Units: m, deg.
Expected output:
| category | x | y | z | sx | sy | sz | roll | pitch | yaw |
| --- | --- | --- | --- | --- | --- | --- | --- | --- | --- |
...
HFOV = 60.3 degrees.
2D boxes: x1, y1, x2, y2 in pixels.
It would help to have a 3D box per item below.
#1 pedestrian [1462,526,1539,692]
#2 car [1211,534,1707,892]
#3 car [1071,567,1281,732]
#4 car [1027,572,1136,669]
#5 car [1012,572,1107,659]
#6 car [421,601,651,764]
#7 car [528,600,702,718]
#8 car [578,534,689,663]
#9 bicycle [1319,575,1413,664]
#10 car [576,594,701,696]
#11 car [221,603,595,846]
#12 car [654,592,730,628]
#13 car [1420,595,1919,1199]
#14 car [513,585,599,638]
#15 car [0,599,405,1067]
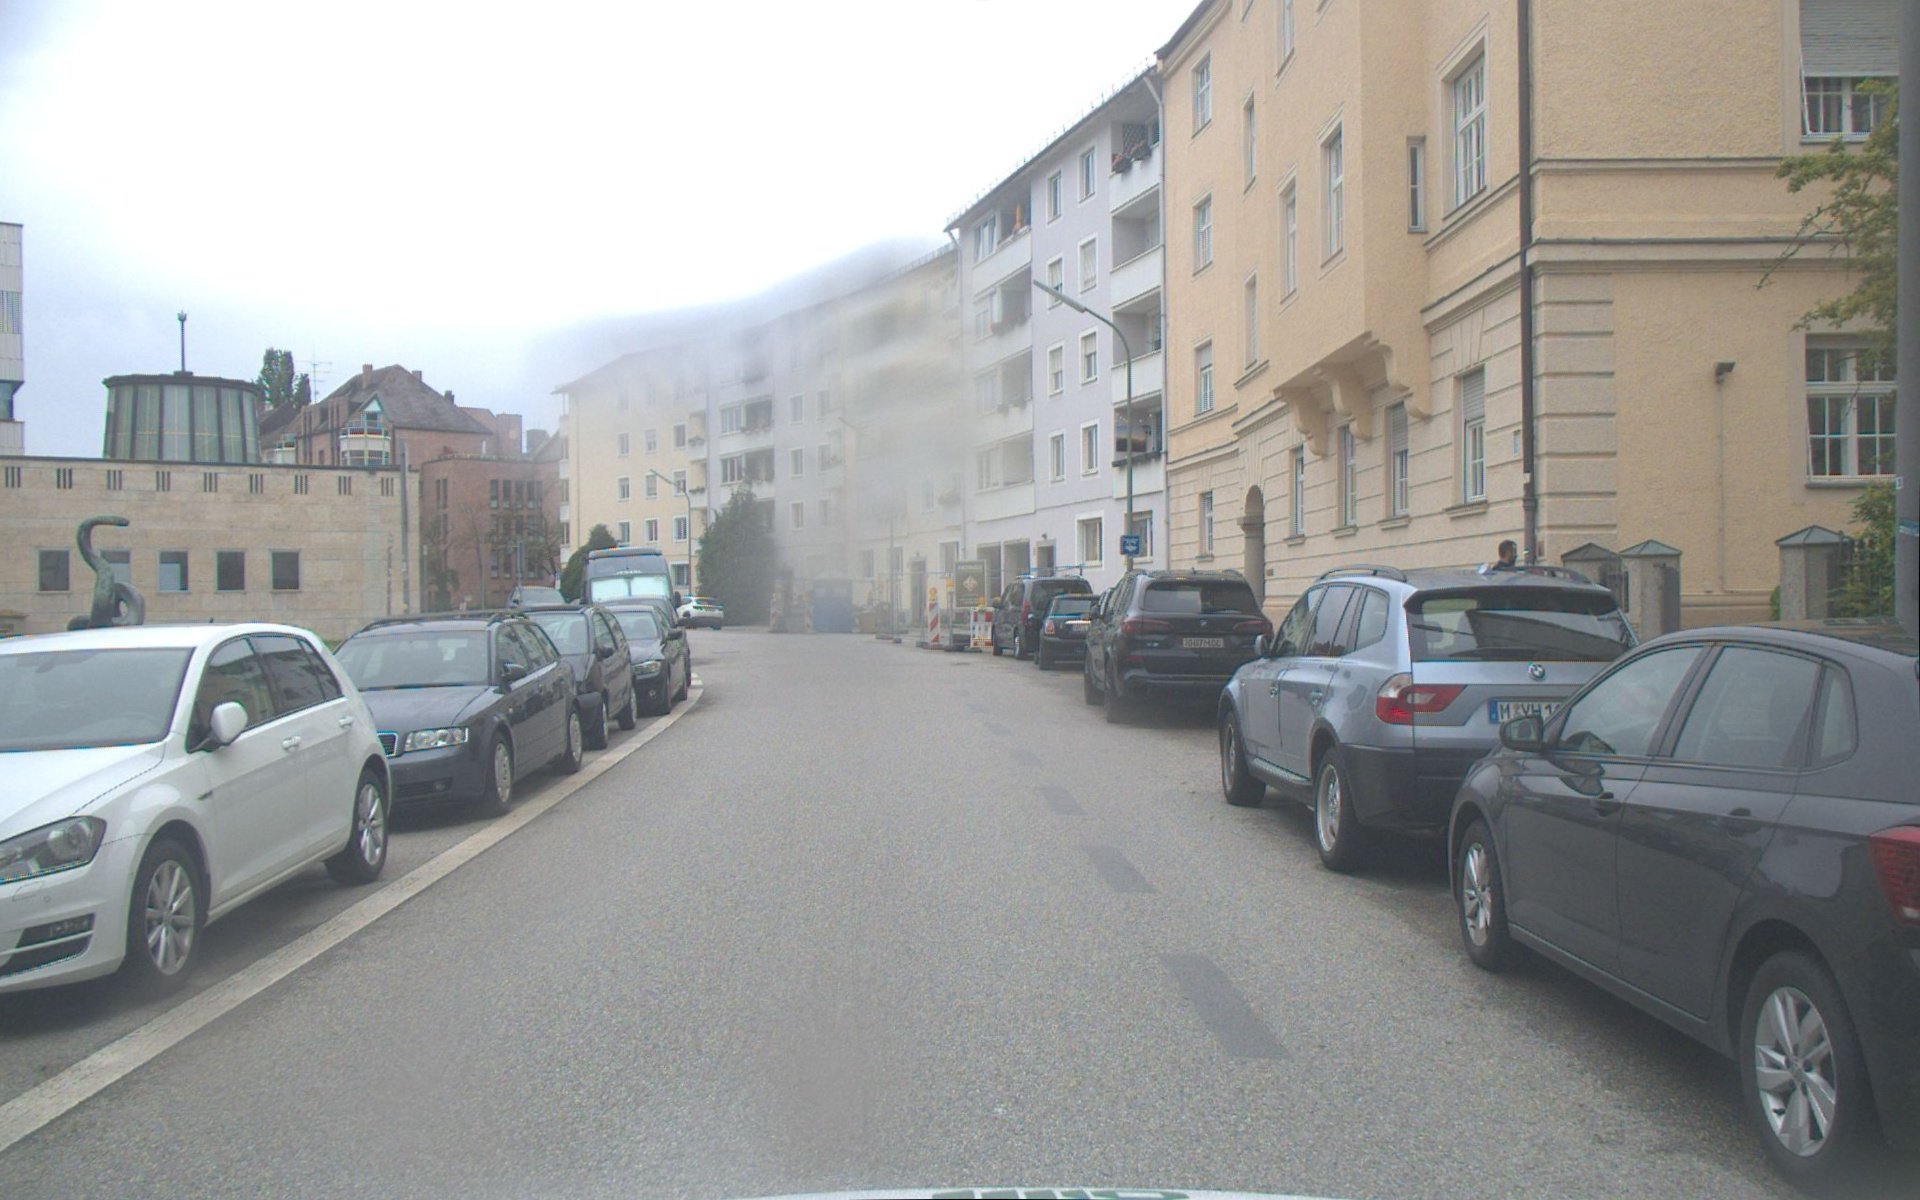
| category | x | y | z | sx | sy | sz | roll | pitch | yaw |
| --- | --- | --- | --- | --- | --- | --- | --- | --- | --- |
| pedestrian | 6.003 | 0.097 | 18.370 | 0.670 | 1.791 | 0.692 | 1 | -1 | 30 |
| car | 2.831 | 0.575 | 10.461 | 1.741 | 1.760 | 4.389 | 1 | 0 | -1 |
| car | 2.514 | 0.492 | 20.405 | 1.888 | 1.760 | 4.687 | 1 | 1 | -1 |
| car | 2.328 | 0.387 | 32.519 | 1.799 | 1.760 | 3.729 | 1 | 0 | -1 |
| car | 2.195 | 0.336 | 37.456 | 1.799 | 1.830 | 4.237 | 1 | 0 | -1 |
| car | -4.462 | 0.806 | 17.915 | 1.687 | 1.507 | 3.751 | -2 | 0 | -4 |
| car | -4.591 | 0.732 | 22.533 | 1.687 | 1.387 | 4.209 | -2 | 0 | -4 |
| car | -7.544 | -0.041 | 37.743 | 2.108 | 2.619 | 6.188 | -2 | 0 | -14 |
| bicycle | 6.058 | 0.280 | 24.853 | 0.687 | 1.268 | 2.644 | -1 | 0 | -2 |
| car | -5.173 | 0.694 | 26.902 | 1.635 | 1.485 | 2.865 | -3 | 0 | -5 |
| car | -4.065 | 0.815 | 12.912 | 1.687 | 1.507 | 4.202 | -2 | 0 | -4 |
| car | -13.472 | 0.496 | 82.945 | 2.009 | 1.707 | 4.556 | 1 | 0 | -35 |
| car | 2.951 | 0.744 | 5.467 | 1.669 | 1.467 | 4.055 | 1 | 0 | -1 |
| car | -14.536 | 0.388 | 59.311 | 1.970 | 1.803 | 4.773 | -1 | 1 | -27 |
| car | -3.948 | 0.814 | 7.487 | 1.687 | 1.556 | 3.997 | -2 | 0 | -4 |
